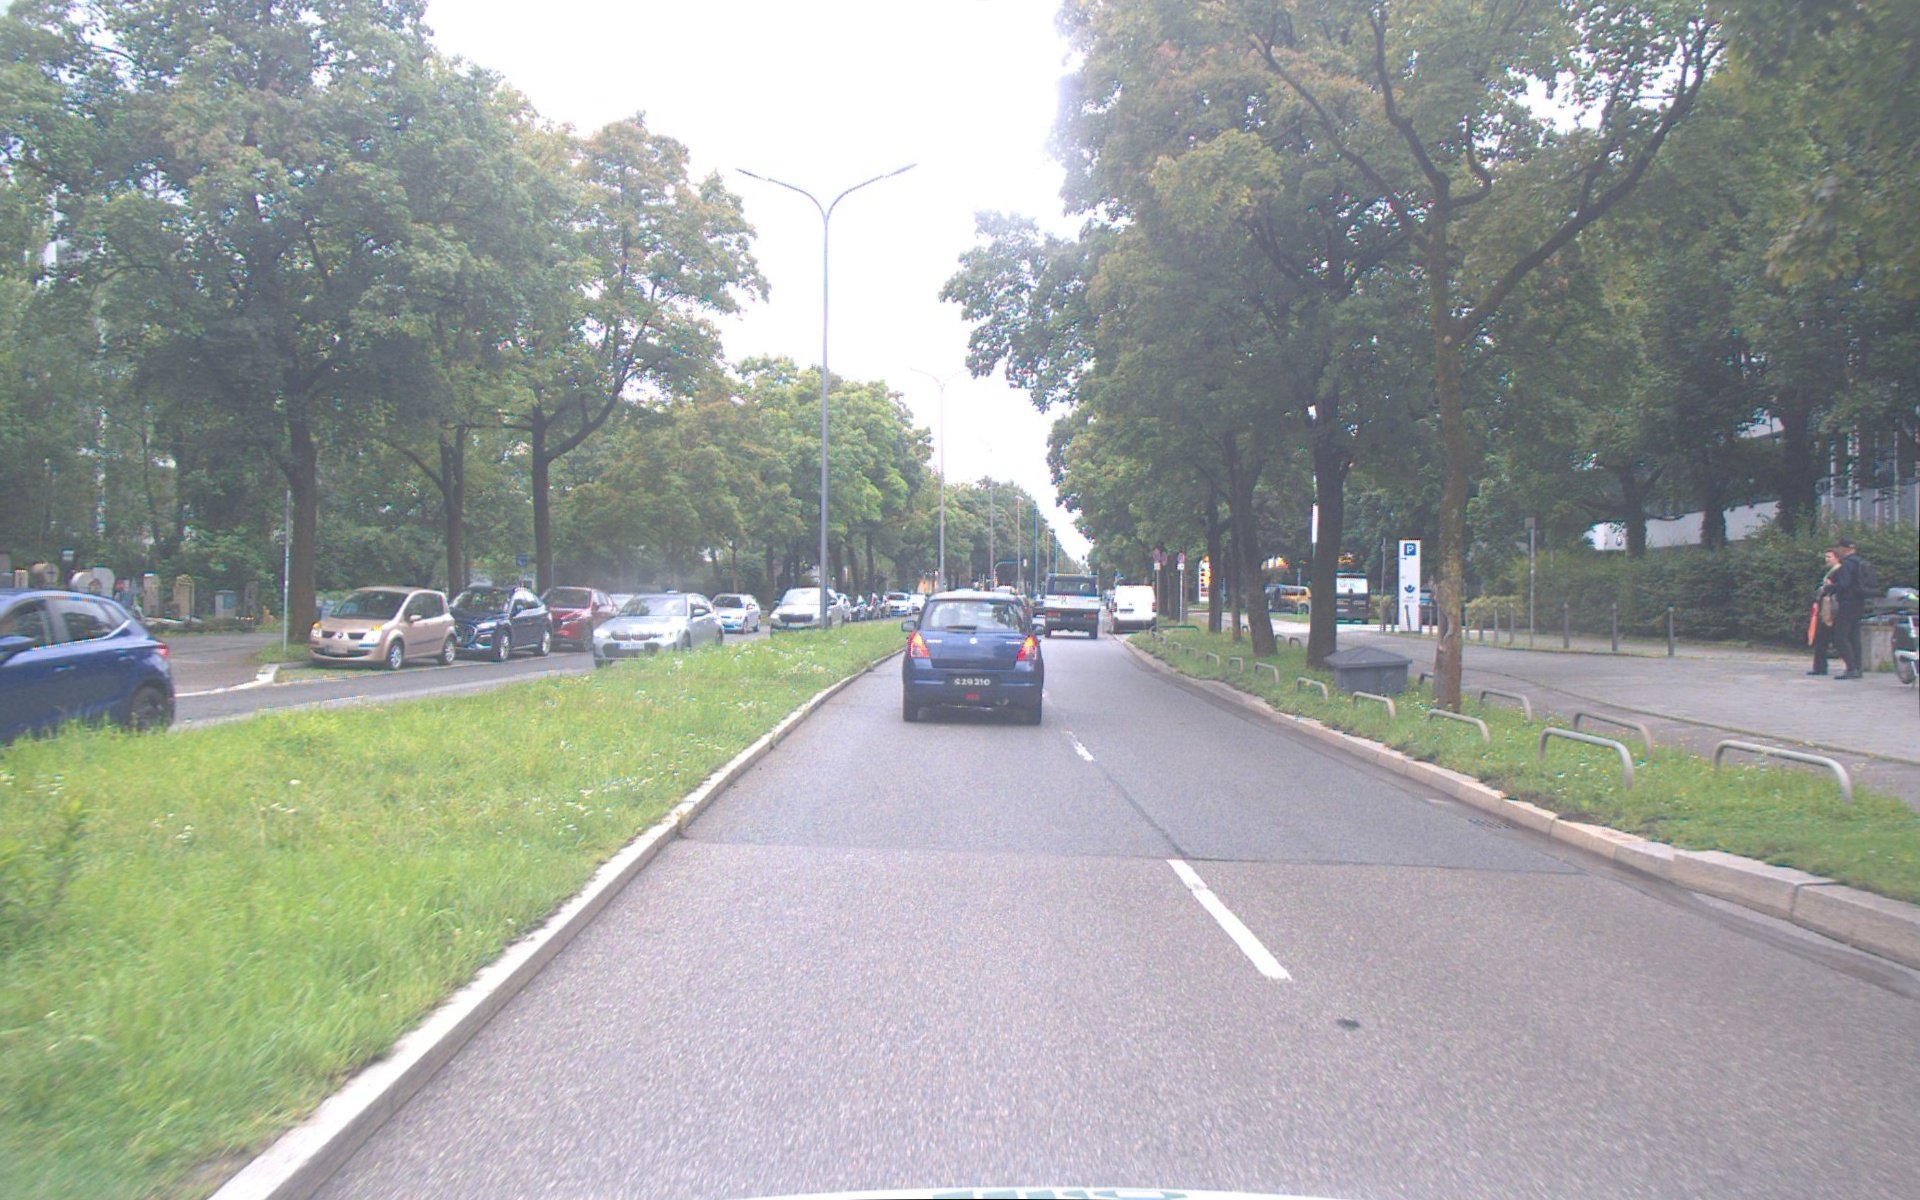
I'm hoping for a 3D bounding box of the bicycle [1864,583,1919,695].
[{"bbox_3d":[11.551,0.451,19.915,0.519,1.248,1.863,-2,1,9],"label":"bicycle"}]

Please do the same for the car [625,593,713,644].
[{"bbox_3d":[-9.516,0.579,54.451,1.702,1.556,4.478,2,0,5],"label":"car"}]

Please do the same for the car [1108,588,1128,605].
[{"bbox_3d":[14.079,-0.315,147.750,1.723,1.479,4.635,-2,0,5],"label":"car"}]

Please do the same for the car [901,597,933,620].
[{"bbox_3d":[-3.231,0.615,125.039,1.793,1.637,4.494,2,0,5],"label":"car"}]

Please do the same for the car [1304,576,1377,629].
[{"bbox_3d":[17.610,0.105,76.845,2.217,2.347,6.271,-1,0,3],"label":"car"}]

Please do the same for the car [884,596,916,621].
[{"bbox_3d":[-4.131,0.598,114.791,1.720,1.622,4.491,2,0,4],"label":"car"}]

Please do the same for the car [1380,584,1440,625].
[{"bbox_3d":[20.946,0.210,77.150,1.803,1.850,4.474,-1,0,3],"label":"car"}]

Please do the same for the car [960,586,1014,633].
[{"bbox_3d":[0.923,0.318,55.890,1.762,1.525,3.661,0,0,1],"label":"car"}]

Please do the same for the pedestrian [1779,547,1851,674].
[{"bbox_3d":[11.988,0.140,23.207,0.766,1.744,0.750,0,0,18],"label":"pedestrian"}]

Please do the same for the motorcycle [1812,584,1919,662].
[{"bbox_3d":[16.211,0.391,29.627,0.538,1.341,2.069,0,0,-10],"label":"motorcycle"}]

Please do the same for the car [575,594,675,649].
[{"bbox_3d":[-9.987,0.601,49.594,1.702,1.508,4.336,2,0,5],"label":"car"}]

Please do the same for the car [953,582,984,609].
[{"bbox_3d":[0.769,-0.373,139.940,2.162,2.232,5.802,-2,0,4],"label":"car"}]

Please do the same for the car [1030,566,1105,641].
[{"bbox_3d":[3.873,0.101,58.808,2.367,2.487,5.090,1,0,6],"label":"car"}]

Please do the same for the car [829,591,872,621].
[{"bbox_3d":[-6.109,0.300,92.758,1.680,1.551,5.037,3,0,4],"label":"car"}]

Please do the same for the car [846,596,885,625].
[{"bbox_3d":[-5.600,0.603,98.328,1.650,1.625,4.213,2,0,5],"label":"car"}]

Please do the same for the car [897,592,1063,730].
[{"bbox_3d":[0.287,0.683,20.429,1.857,1.525,3.661,1,0,2],"label":"car"}]

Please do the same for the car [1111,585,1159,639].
[{"bbox_3d":[7.340,0.480,69.760,1.945,2.195,5.559,-1,0,5],"label":"car"}]

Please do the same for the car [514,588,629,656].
[{"bbox_3d":[-10.396,0.553,44.592,1.702,1.680,4.608,2,0,3],"label":"car"}]

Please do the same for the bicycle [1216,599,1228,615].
[{"bbox_3d":[19.538,0.541,123.423,0.732,1.203,2.248,0,0,5],"label":"bicycle"}]

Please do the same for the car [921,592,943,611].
[{"bbox_3d":[-2.333,0.097,137.896,1.655,1.593,3.081,0,0,3],"label":"car"}]

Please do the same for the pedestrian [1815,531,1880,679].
[{"bbox_3d":[11.841,0.069,22.086,0.637,1.932,0.749,0,0,19],"label":"pedestrian"}]

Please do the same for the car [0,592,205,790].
[{"bbox_3d":[-7.701,0.655,12.836,1.656,1.427,3.969,0,0,4],"label":"car"}]

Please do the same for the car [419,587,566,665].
[{"bbox_3d":[-10.839,0.560,38.674,1.702,1.672,4.687,1,0,5],"label":"car"}]

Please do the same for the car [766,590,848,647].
[{"bbox_3d":[-4.626,0.530,50.560,1.729,1.653,4.379,-1,0,5],"label":"car"}]

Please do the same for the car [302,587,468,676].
[{"bbox_3d":[-11.447,0.592,33.171,1.612,1.642,3.821,1,0,6],"label":"car"}]

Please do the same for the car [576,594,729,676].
[{"bbox_3d":[-6.081,0.652,33.269,1.875,1.510,4.867,-1,0,4],"label":"car"}]

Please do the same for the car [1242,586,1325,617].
[{"bbox_3d":[22.038,0.095,112.807,5.355,2.120,2.148,0,0,4],"label":"car"}]

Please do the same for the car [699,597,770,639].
[{"bbox_3d":[-8.733,0.668,64.374,1.700,1.473,4.825,3,0,4],"label":"car"}]

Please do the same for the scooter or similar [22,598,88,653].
[{"bbox_3d":[-19.234,0.532,35.167,0.426,1.146,1.290,0,0,17],"label":"scooter or similar"}]

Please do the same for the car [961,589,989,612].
[{"bbox_3d":[1.111,0.011,121.961,1.795,1.671,4.353,-1,0,4],"label":"car"}]
